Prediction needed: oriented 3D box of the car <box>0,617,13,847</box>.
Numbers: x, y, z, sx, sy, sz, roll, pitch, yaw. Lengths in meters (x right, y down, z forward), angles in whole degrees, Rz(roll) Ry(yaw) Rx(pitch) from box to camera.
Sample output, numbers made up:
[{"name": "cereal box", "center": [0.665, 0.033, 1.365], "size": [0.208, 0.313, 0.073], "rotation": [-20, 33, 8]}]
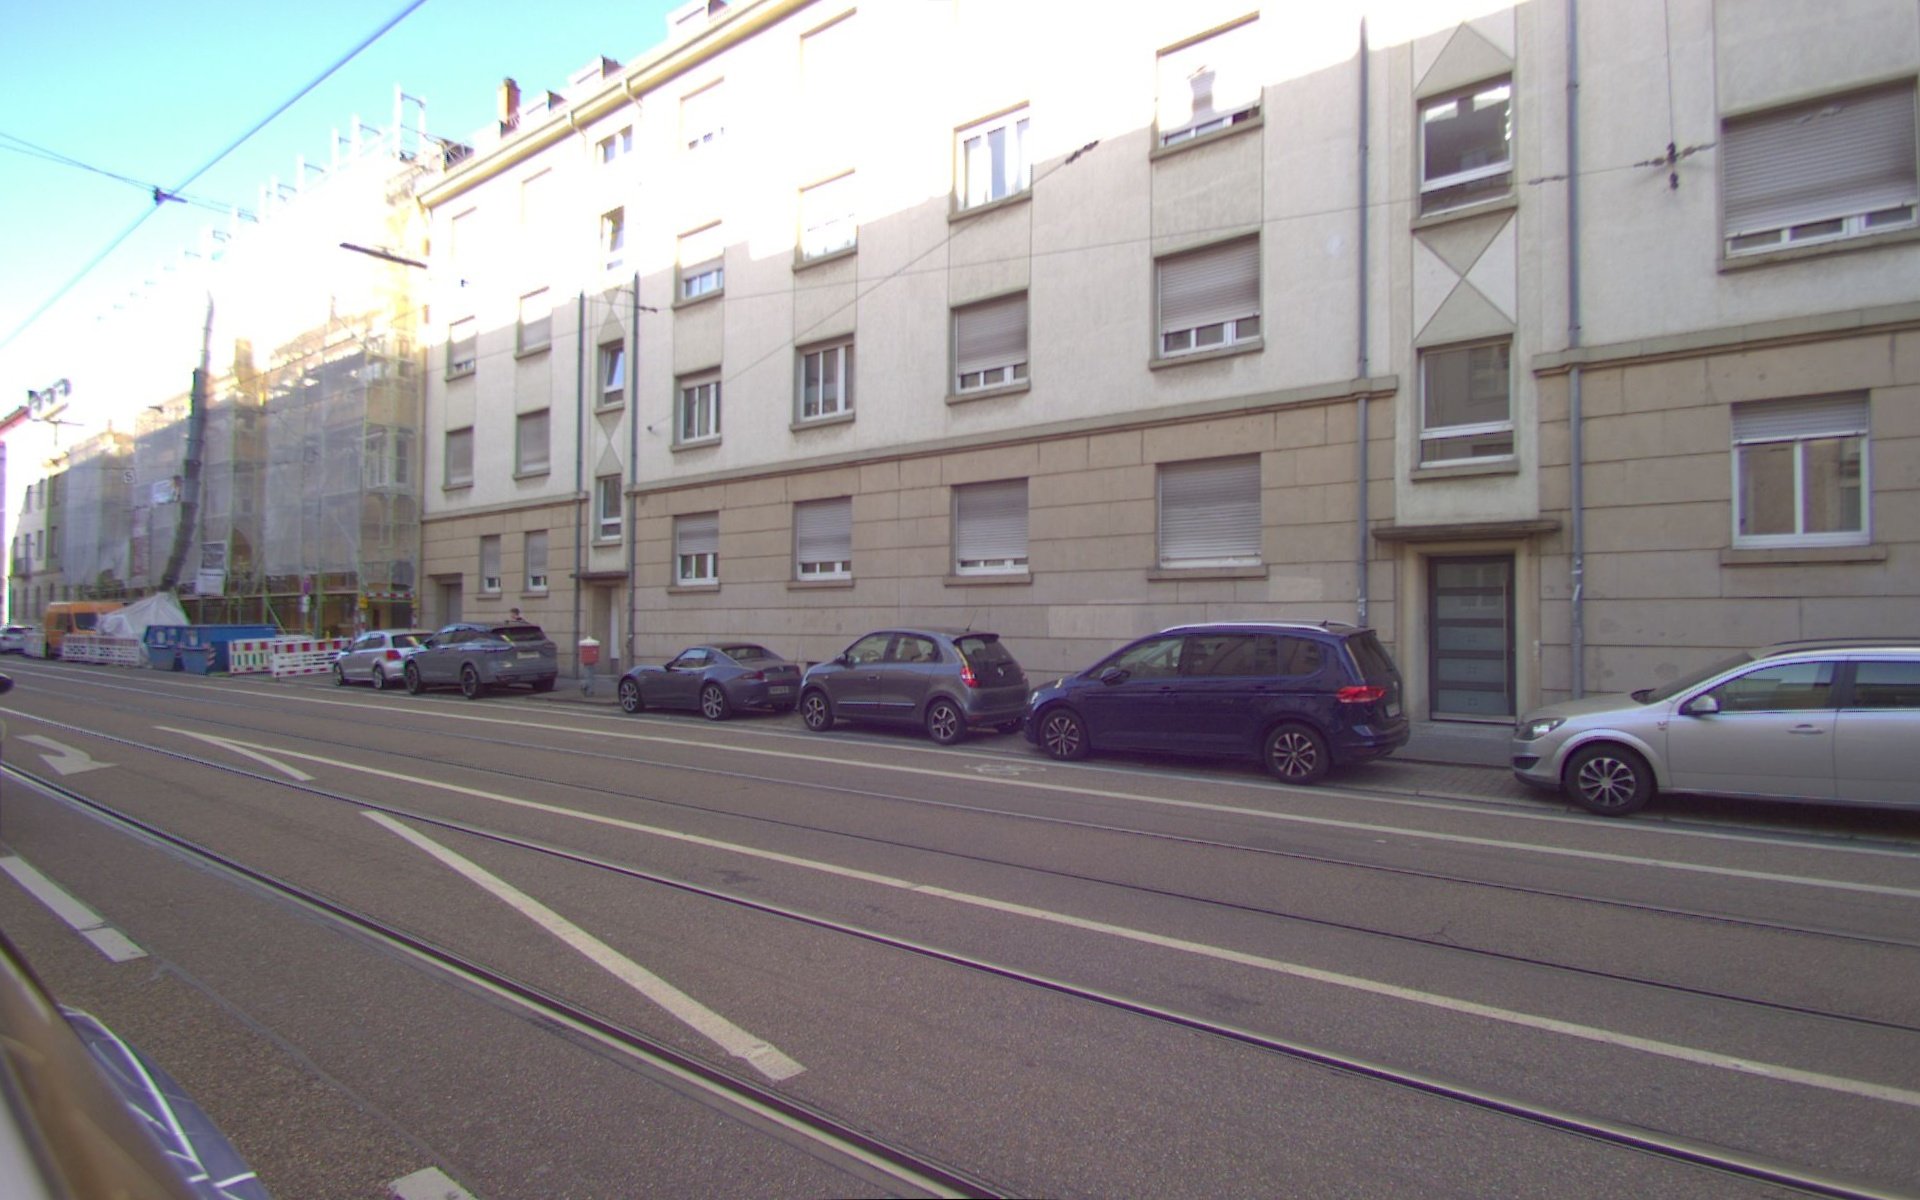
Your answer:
[{"name": "car", "center": [-7.974, 0.868, 6.944], "size": [3.814, 1.436, 1.706], "rotation": [-2, -3, 40]}]

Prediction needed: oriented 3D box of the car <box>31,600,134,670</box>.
[{"name": "car", "center": [-36.460, 1.388, 41.998], "size": [5.866, 2.717, 2.188], "rotation": [-1, 0, 39]}]

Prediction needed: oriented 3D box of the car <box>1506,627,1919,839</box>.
[{"name": "car", "center": [7.129, 1.010, 8.410], "size": [4.363, 1.465, 1.709], "rotation": [-1, 1, 37]}]

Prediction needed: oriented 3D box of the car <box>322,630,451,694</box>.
[{"name": "car", "center": [-14.428, 1.506, 25.423], "size": [3.502, 1.390, 1.546], "rotation": [-1, 1, 37]}]

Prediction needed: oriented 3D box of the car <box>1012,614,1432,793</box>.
[{"name": "car", "center": [2.899, 1.019, 11.655], "size": [4.318, 1.645, 1.798], "rotation": [-1, 1, 37]}]

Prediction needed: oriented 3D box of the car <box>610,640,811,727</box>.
[{"name": "car", "center": [-4.344, 1.370, 17.450], "size": [3.518, 1.229, 1.458], "rotation": [-1, 1, 37]}]

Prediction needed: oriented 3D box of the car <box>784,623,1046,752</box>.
[{"name": "car", "center": [-0.708, 1.152, 14.647], "size": [3.591, 1.570, 1.624], "rotation": [-1, 1, 38]}]

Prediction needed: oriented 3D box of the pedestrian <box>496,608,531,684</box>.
[{"name": "pedestrian", "center": [-11.315, 1.150, 25.653], "size": [0.762, 1.886, 0.513], "rotation": [-1, 0, 38]}]

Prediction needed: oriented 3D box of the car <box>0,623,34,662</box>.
[{"name": "car", "center": [-49.994, 2.195, 53.299], "size": [1.635, 1.937, 3.767], "rotation": [-1, 0, -44]}]

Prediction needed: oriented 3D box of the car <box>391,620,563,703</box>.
[{"name": "car", "center": [-10.846, 1.304, 22.628], "size": [4.152, 1.621, 1.731], "rotation": [-1, 1, 37]}]

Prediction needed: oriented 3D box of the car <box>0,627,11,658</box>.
[{"name": "car", "center": [-54.773, 2.396, 56.908], "size": [3.932, 1.696, 1.550], "rotation": [-1, 0, 39]}]
